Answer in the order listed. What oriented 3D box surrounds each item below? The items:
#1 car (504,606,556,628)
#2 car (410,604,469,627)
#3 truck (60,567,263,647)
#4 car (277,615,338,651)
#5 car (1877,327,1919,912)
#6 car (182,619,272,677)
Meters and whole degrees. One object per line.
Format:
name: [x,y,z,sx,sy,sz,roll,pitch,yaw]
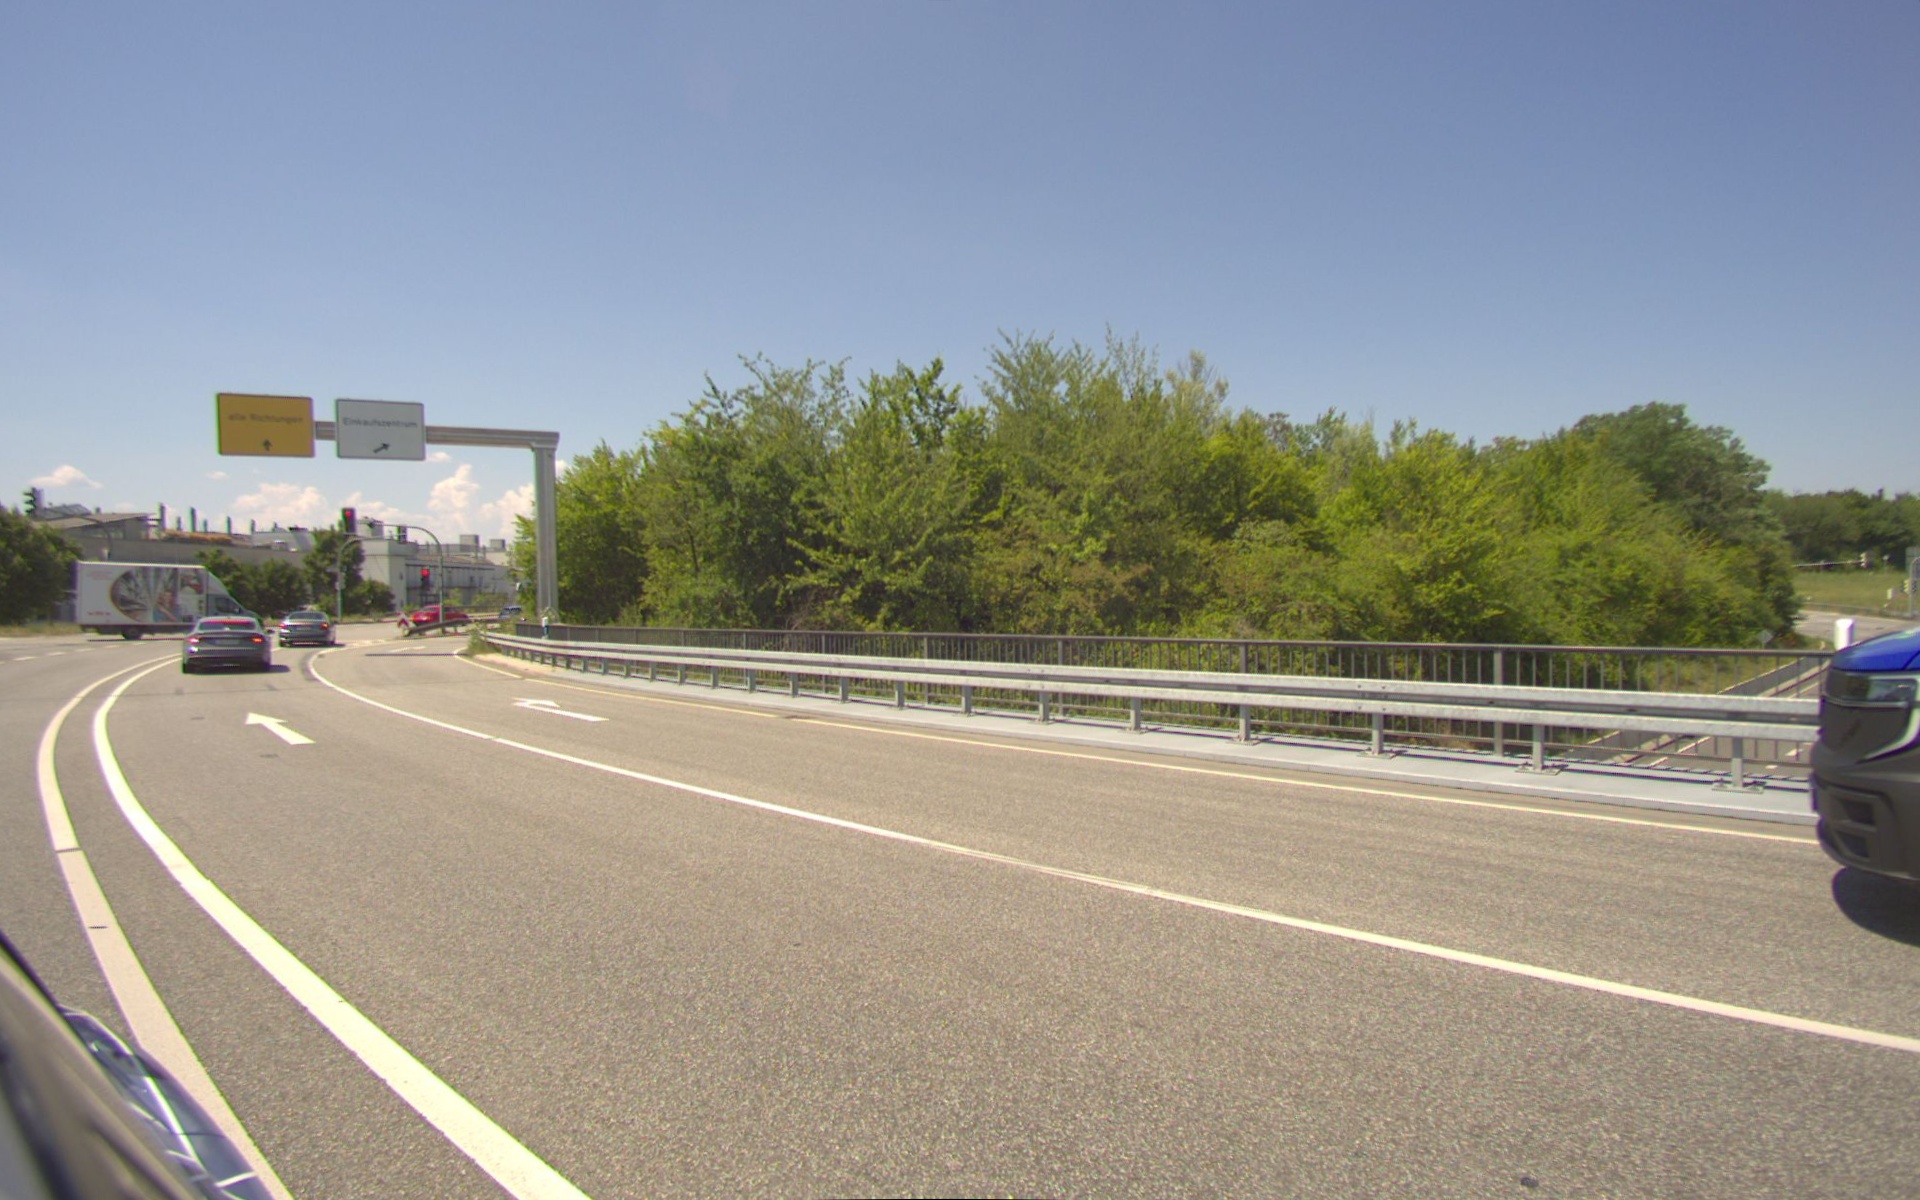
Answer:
car: [-29.749,1.174,70.158,1.689,1.473,4.488,1,-1,0]
car: [-34.958,1.032,68.152,1.643,1.399,4.448,1,0,1]
truck: [-36.247,0.233,46.204,7.088,3.372,2.420,-1,3,-40]
car: [-26.425,1.306,41.087,1.622,1.362,3.981,2,-2,-27]
car: [6.727,0.103,3.232,5.475,2.503,1.974,-1,-2,39]
car: [-19.071,1.193,26.476,1.755,1.395,4.293,1,-2,-34]
